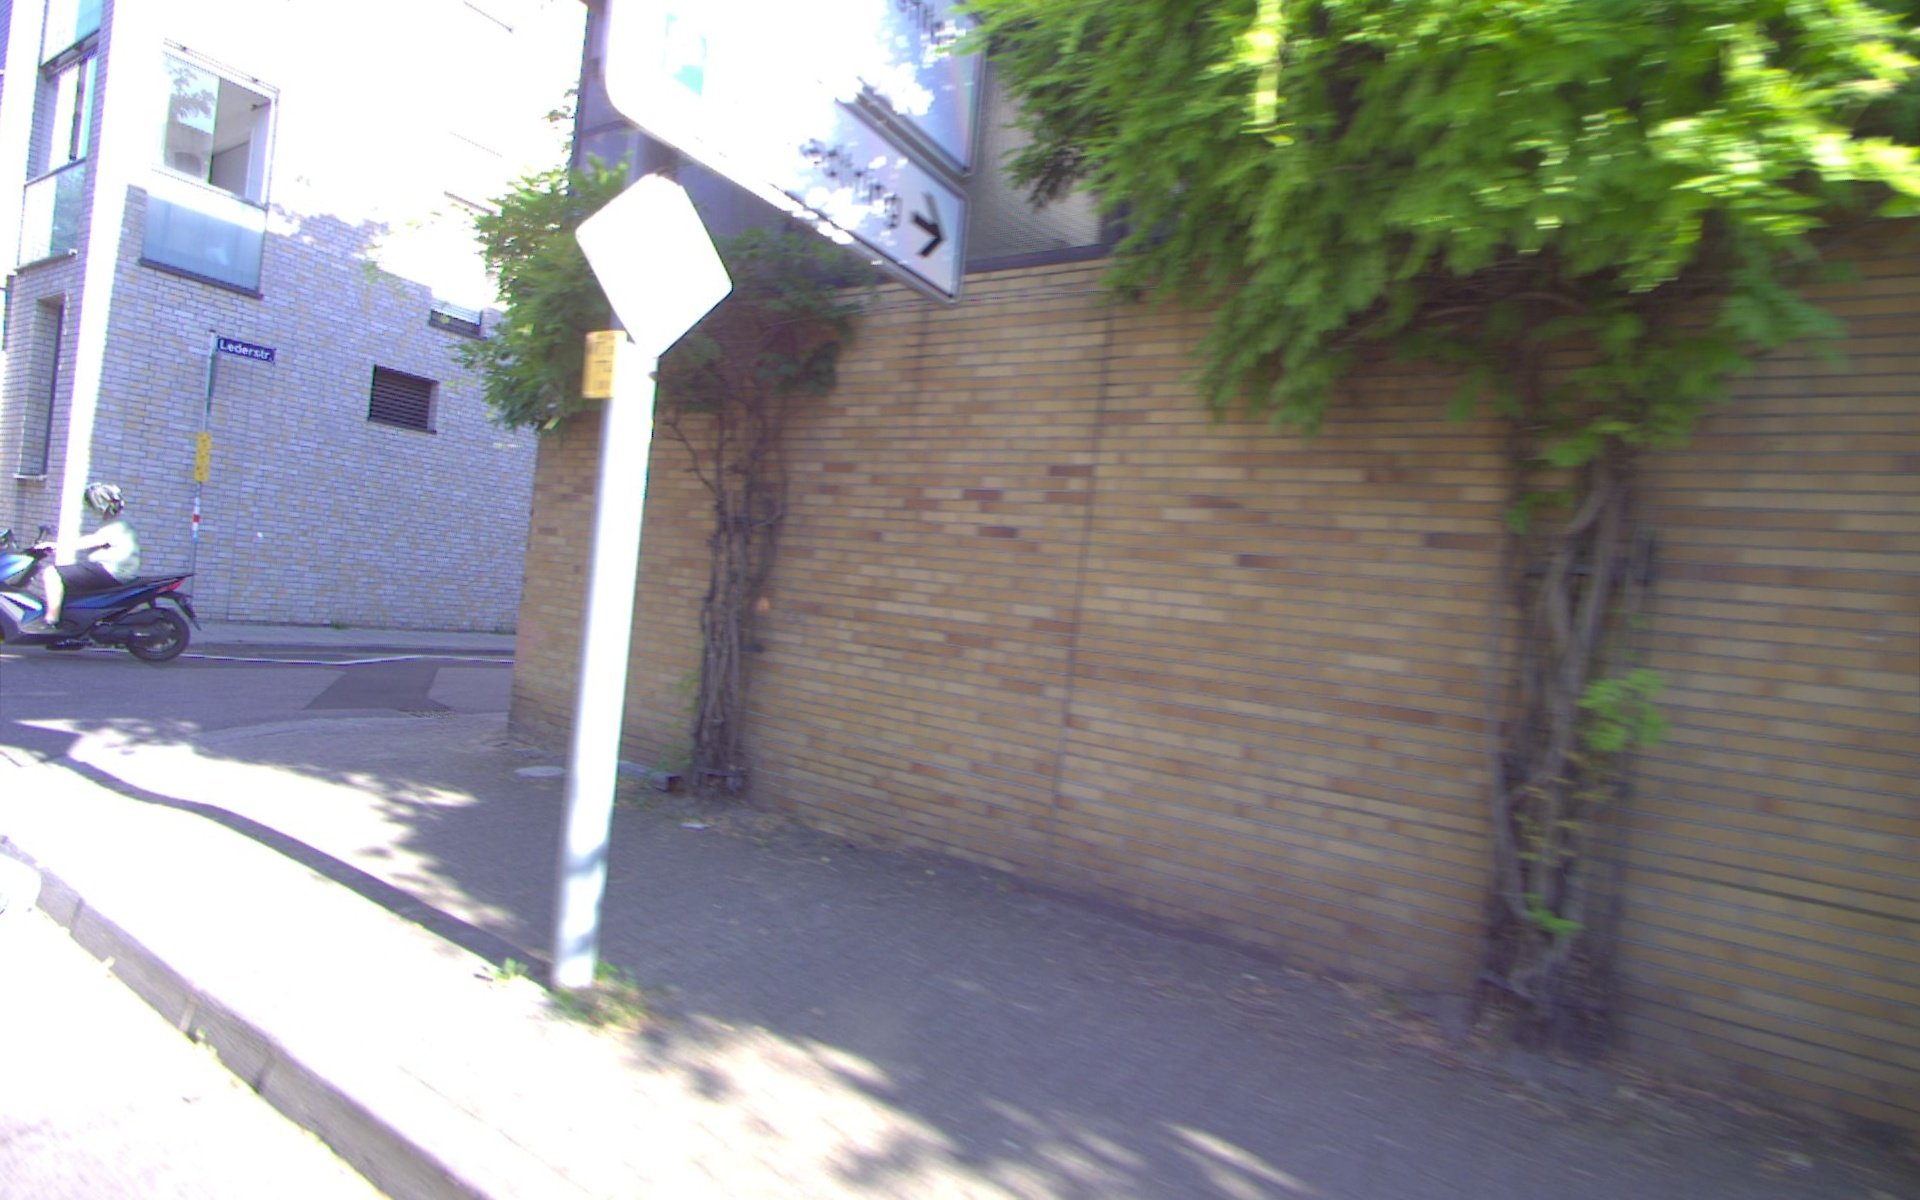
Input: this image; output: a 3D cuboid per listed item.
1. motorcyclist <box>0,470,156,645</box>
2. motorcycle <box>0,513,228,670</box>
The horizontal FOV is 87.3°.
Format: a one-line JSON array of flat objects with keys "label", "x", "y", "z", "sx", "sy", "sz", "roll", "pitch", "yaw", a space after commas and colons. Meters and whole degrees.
[{"label": "motorcyclist", "x": -8.483, "y": -0.373, "z": 9.666, "sx": 0.870, "sy": 1.489, "sz": 0.890, "roll": 8, "pitch": -3, "yaw": -29}, {"label": "motorcycle", "x": -8.555, "y": -0.090, "z": 9.617, "sx": 2.316, "sy": 1.295, "sz": 0.890, "roll": 7, "pitch": -3, "yaw": -30}]
